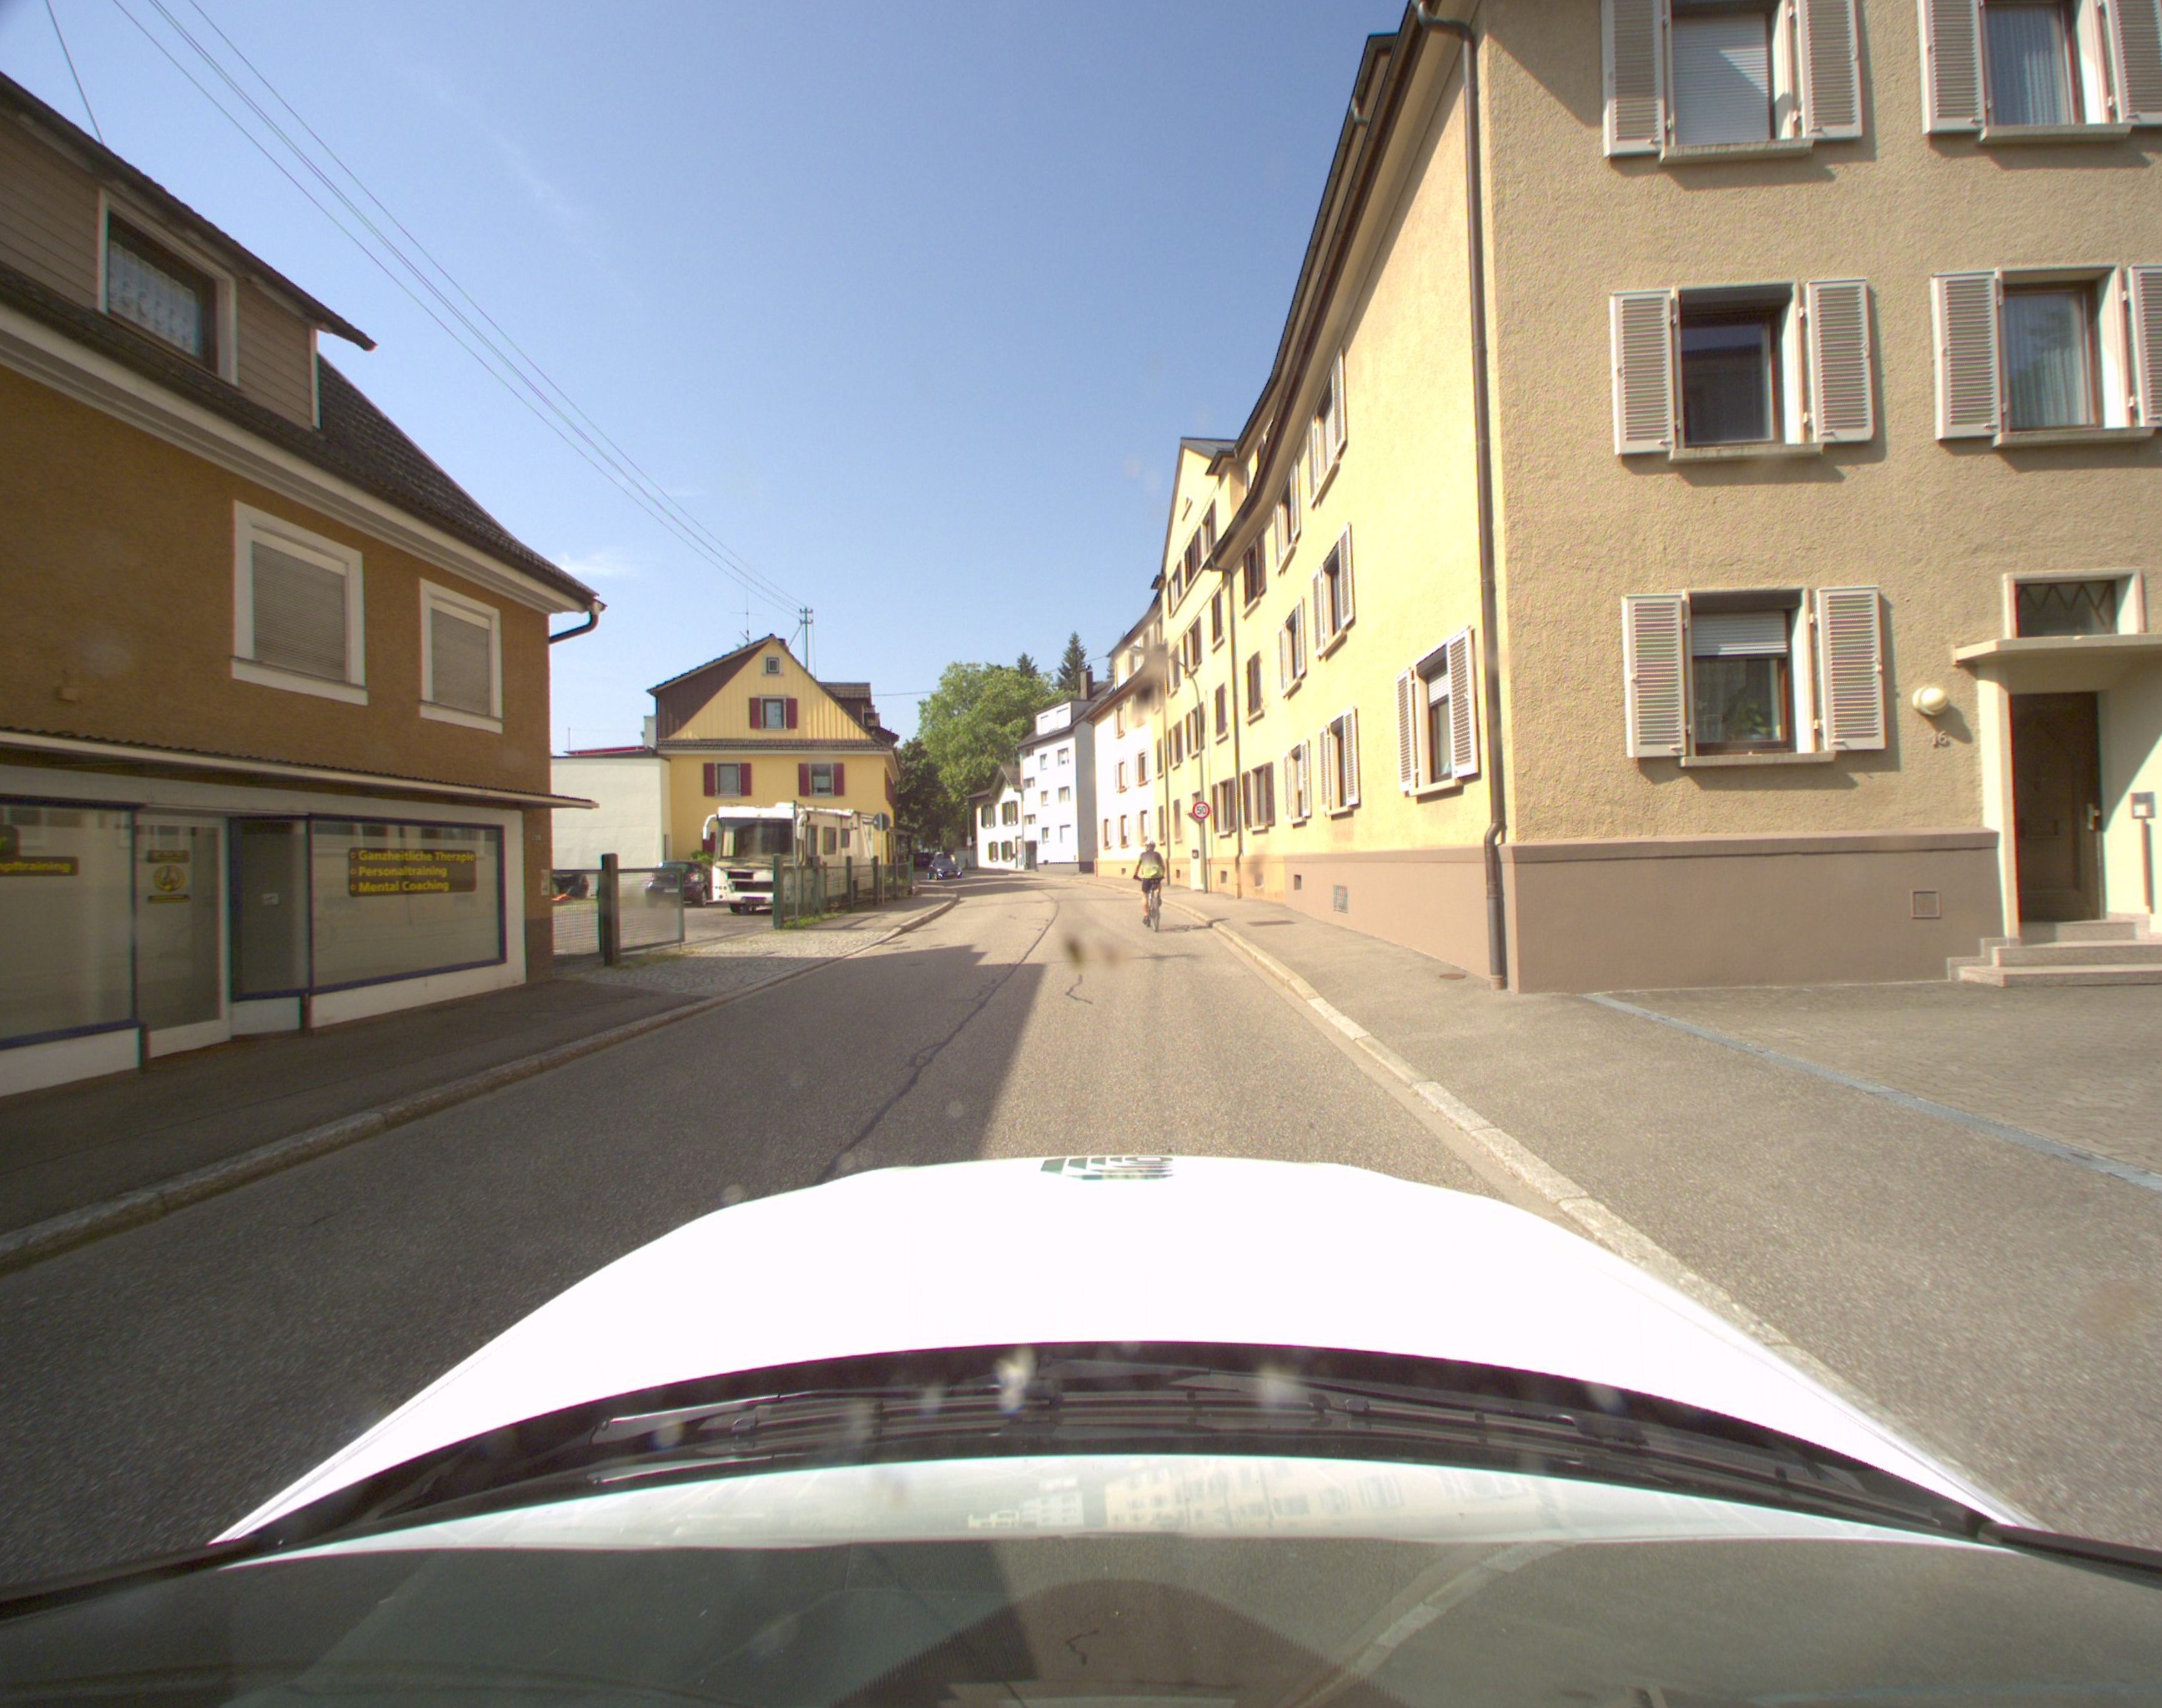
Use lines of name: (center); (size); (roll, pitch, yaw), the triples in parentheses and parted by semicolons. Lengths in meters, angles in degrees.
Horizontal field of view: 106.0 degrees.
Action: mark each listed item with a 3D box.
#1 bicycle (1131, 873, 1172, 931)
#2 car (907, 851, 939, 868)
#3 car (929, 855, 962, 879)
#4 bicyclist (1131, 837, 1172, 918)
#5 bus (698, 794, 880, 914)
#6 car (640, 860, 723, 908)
bicycle: (1.379, 0.931, 16.149); (0.696, 1.035, 1.471); (-1, 0, 0)
car: (-17.447, 0.584, 89.671); (1.837, 1.791, 3.954); (-3, 2, -39)
car: (-9.623, 0.910, 57.726); (1.751, 1.453, 4.005); (-5, 1, -16)
bicyclist: (1.390, 0.457, 16.155); (0.683, 1.531, 0.715); (-2, -1, 0)
bus: (-8.980, 0.008, 26.491); (2.812, 3.228, 9.031); (0, 0, -1)
car: (-12.902, 0.909, 26.531); (1.769, 1.432, 3.977); (0, -1, -17)
